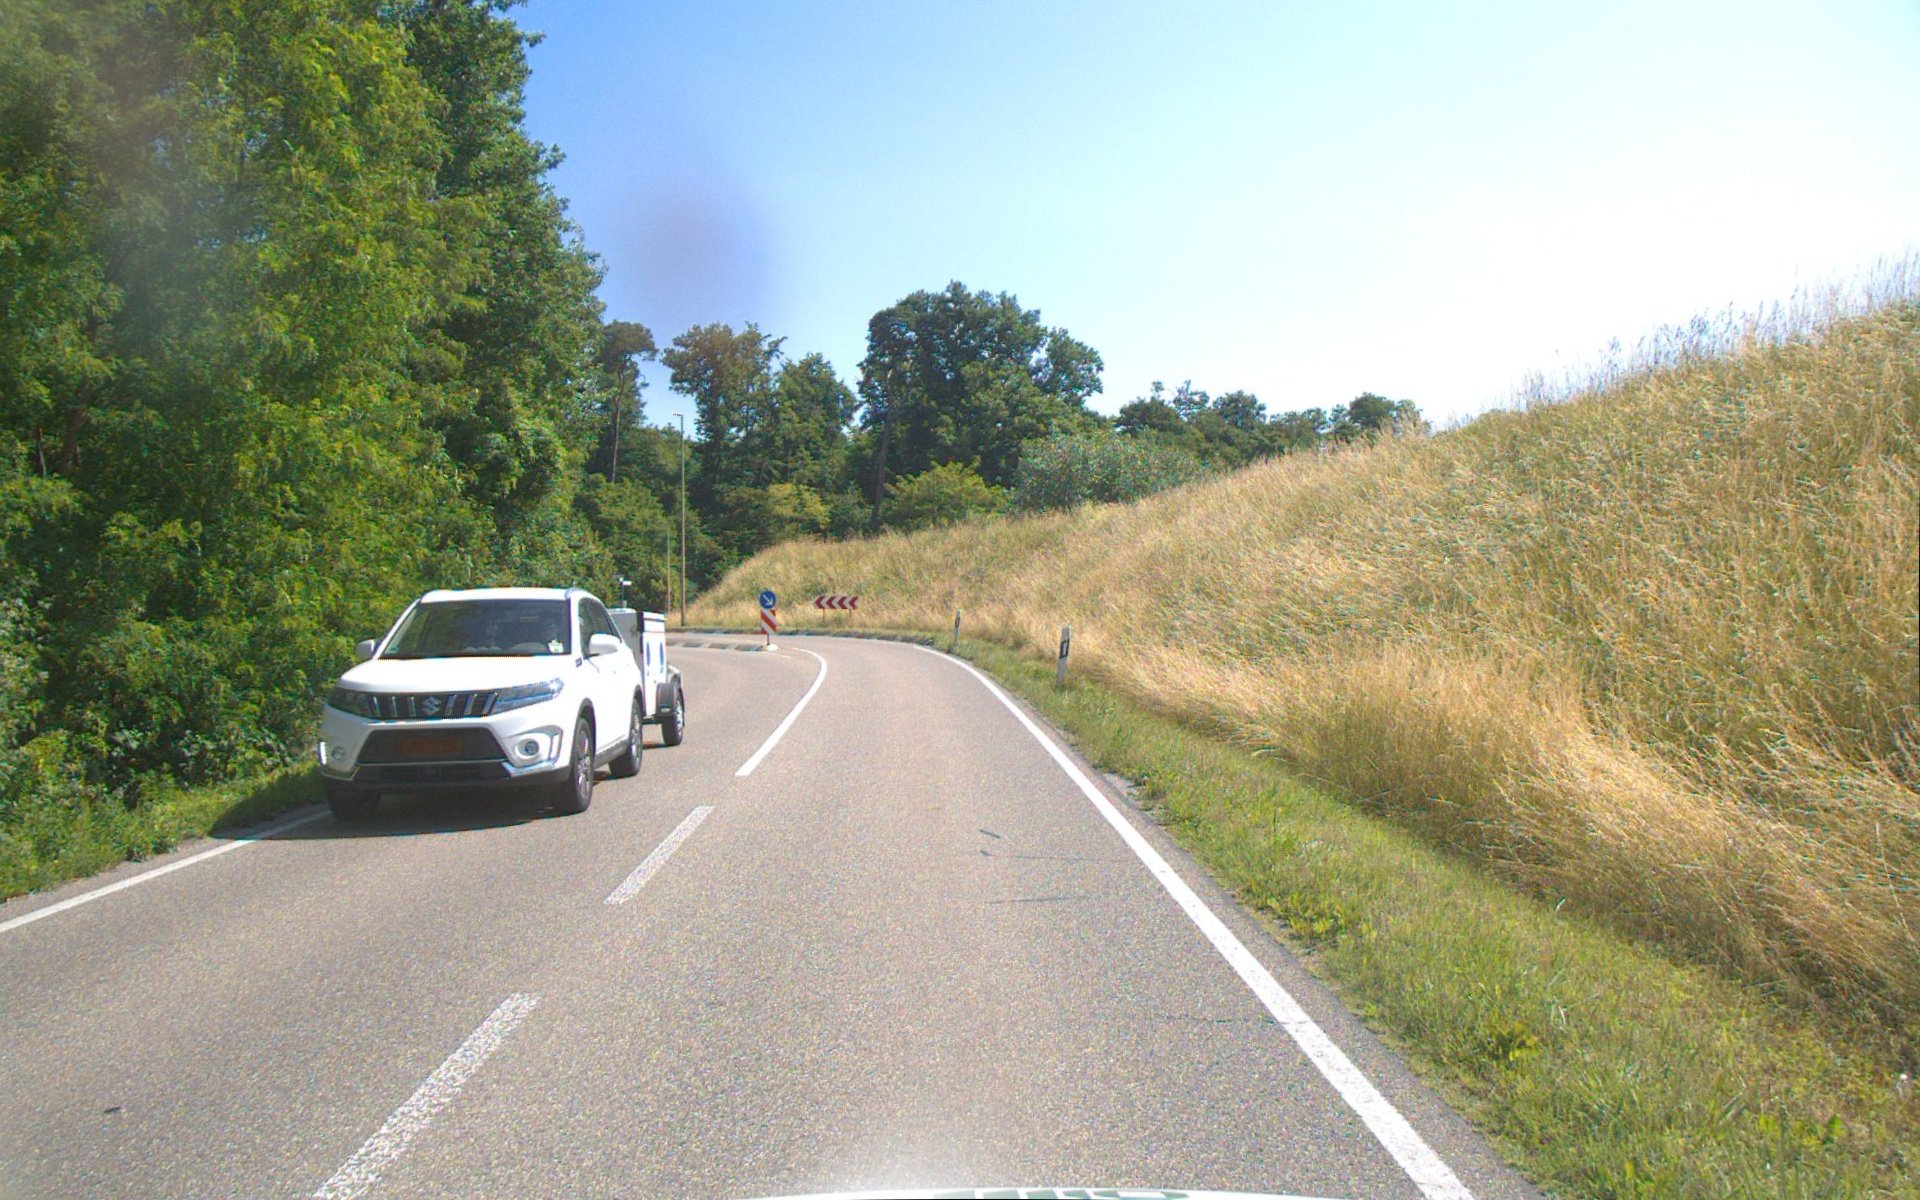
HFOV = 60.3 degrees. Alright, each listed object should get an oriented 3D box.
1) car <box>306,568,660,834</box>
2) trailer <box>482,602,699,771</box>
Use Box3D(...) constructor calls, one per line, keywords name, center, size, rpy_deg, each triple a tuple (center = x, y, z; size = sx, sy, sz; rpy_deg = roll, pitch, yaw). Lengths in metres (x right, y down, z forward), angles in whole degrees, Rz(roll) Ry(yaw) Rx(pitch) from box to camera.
Box3D(name="car", center=(-3.481, 0.650, 12.831), size=(1.773, 1.706, 3.997), rpy_deg=(-1, 0, -3))
Box3D(name="trailer", center=(-3.577, 0.777, 16.492), size=(1.528, 1.466, 3.267), rpy_deg=(-1, 0, -3))
